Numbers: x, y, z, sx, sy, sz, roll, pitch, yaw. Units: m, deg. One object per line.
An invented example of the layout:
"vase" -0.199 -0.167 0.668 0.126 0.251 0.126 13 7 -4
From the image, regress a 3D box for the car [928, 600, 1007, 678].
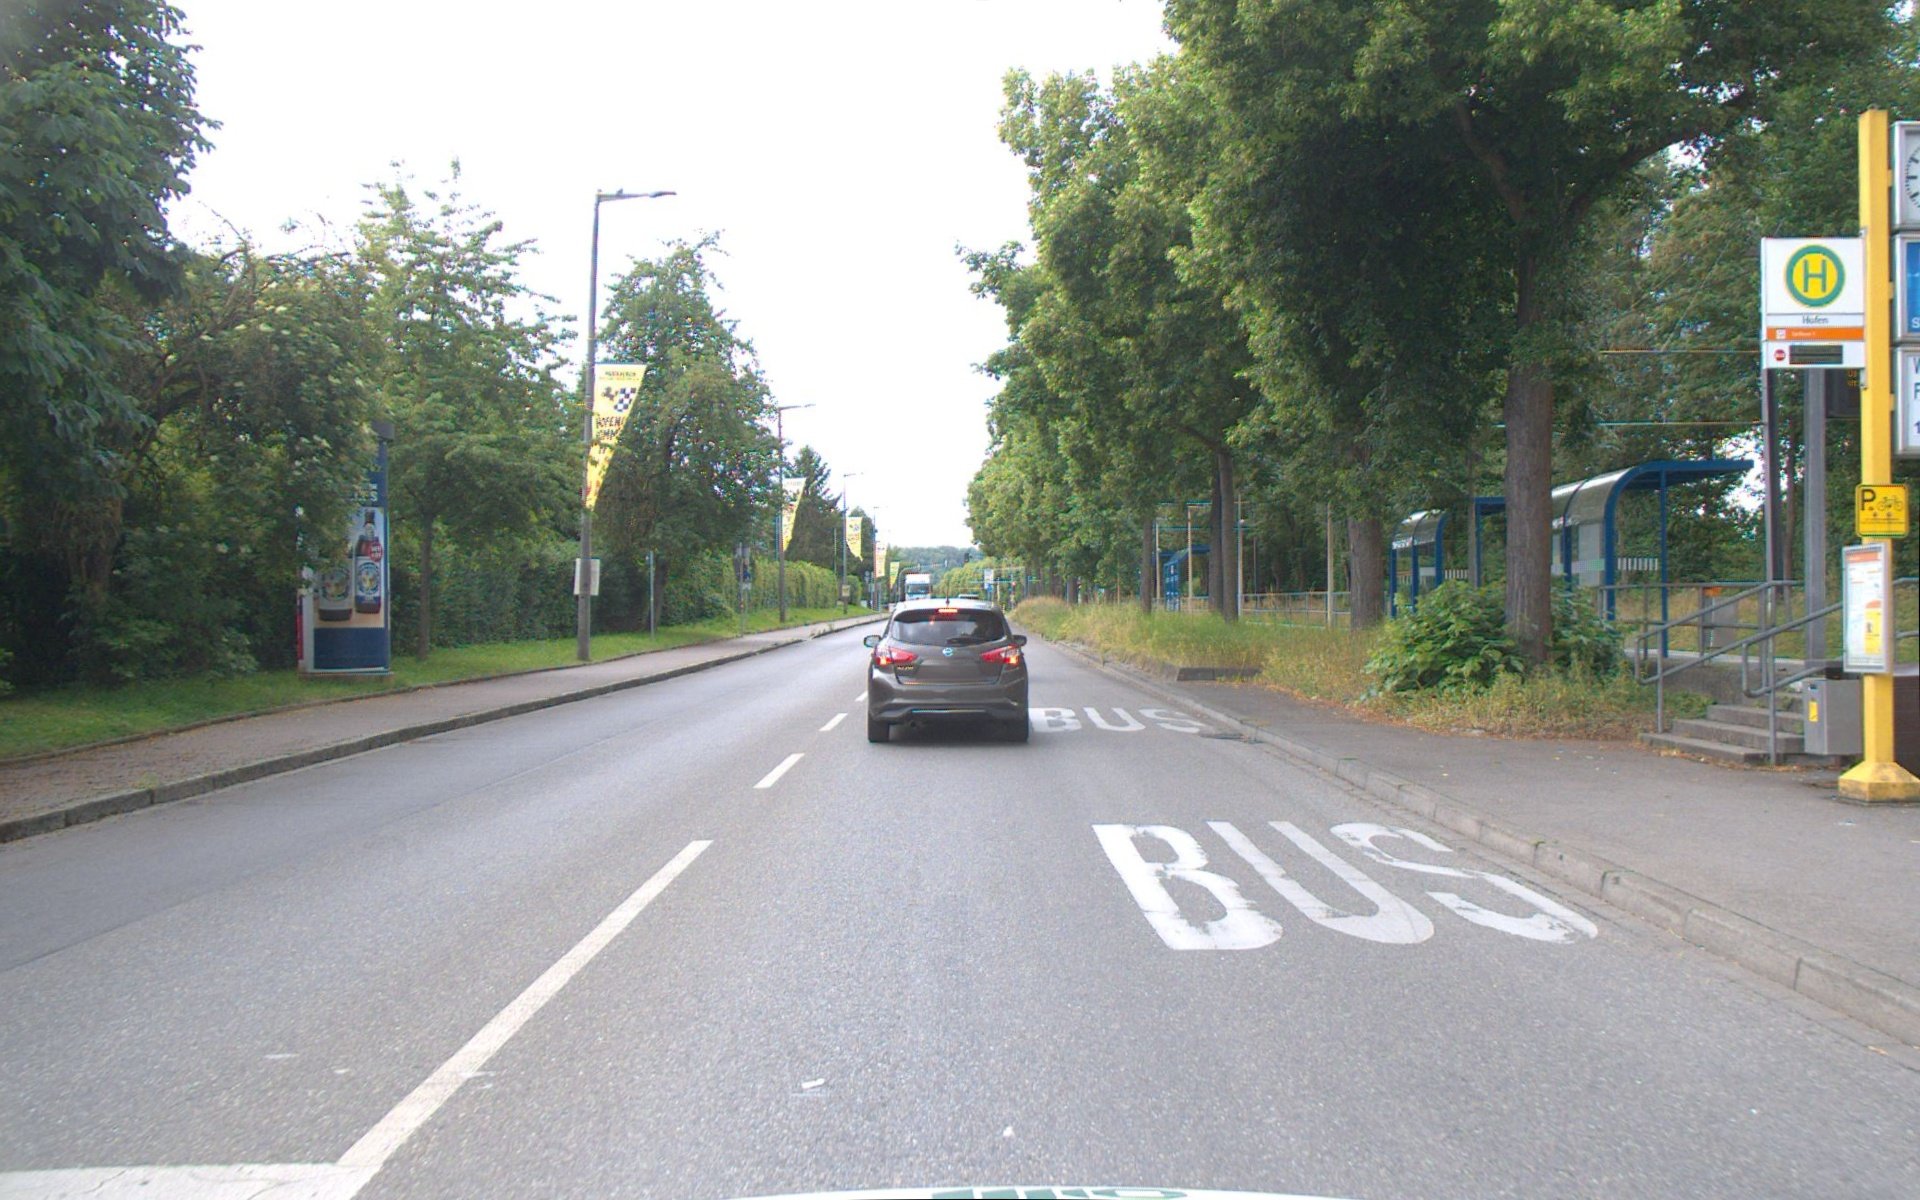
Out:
"car" 0.129 0.732 32.519 1.471 1.466 3.541 0 0 0

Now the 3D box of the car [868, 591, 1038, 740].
"car" -0.059 0.695 18.881 1.747 1.533 3.696 0 -1 0

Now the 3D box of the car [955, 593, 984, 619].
"car" 0.529 0.373 95.110 1.657 1.466 3.541 0 0 0

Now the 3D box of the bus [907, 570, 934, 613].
"bus" -3.882 -0.799 164.646 2.436 4.096 10.216 0 0 0

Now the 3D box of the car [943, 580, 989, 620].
"car" 0.216 0.004 62.278 1.657 1.466 3.541 0 0 0
